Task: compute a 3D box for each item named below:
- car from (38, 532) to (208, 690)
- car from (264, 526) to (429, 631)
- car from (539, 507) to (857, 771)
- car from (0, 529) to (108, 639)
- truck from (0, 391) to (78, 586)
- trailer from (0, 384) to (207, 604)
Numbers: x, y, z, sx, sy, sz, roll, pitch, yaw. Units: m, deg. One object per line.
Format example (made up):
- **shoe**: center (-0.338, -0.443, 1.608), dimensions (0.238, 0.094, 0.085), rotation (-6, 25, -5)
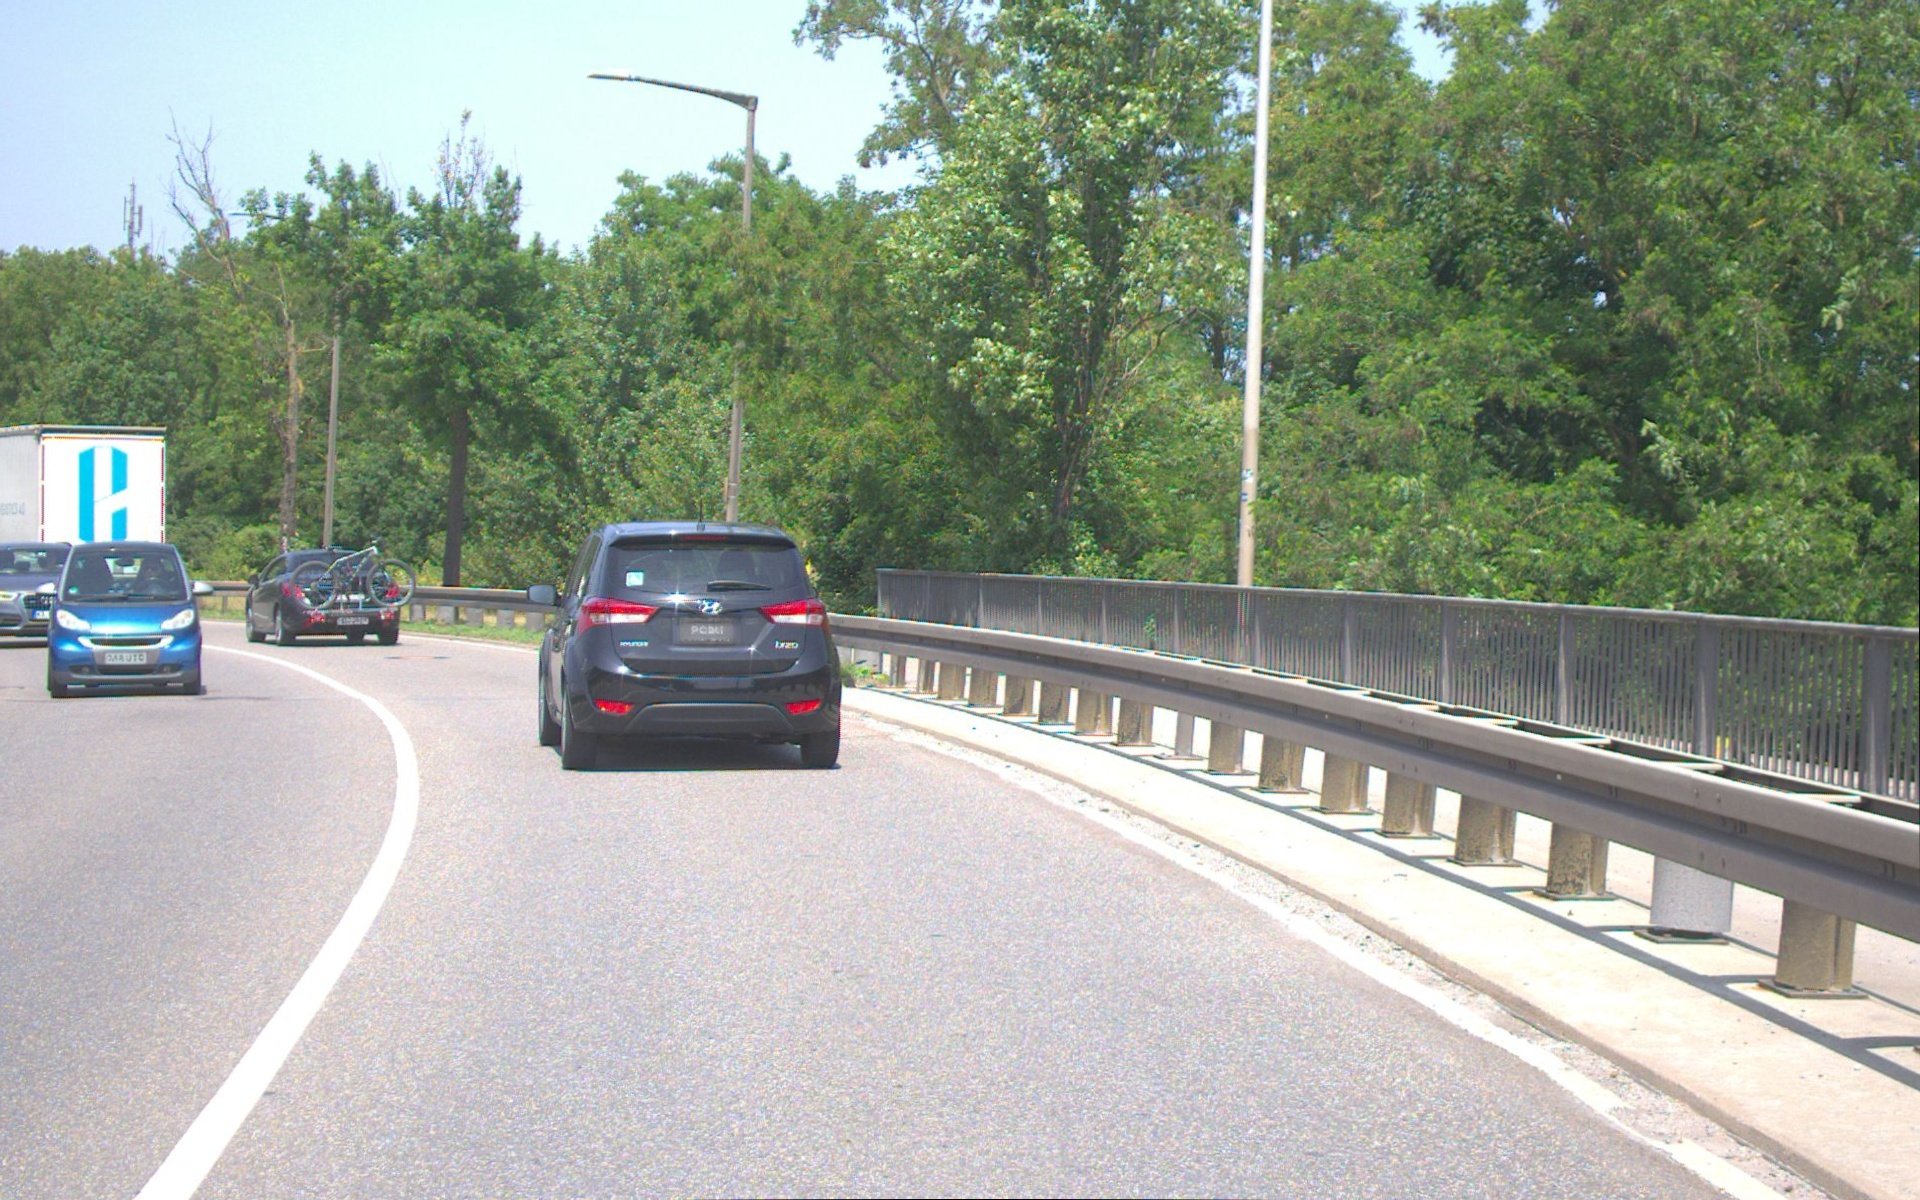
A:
- **car**: center (-8.488, 0.076, 34.747), dimensions (1.596, 1.481, 2.749), rotation (0, 2, -15)
- **car**: center (-9.089, -0.343, 50.765), dimensions (2.011, 1.424, 3.778), rotation (0, 2, -16)
- **car**: center (-1.838, 0.189, 22.976), dimensions (1.921, 1.568, 3.893), rotation (0, 2, -7)
- **car**: center (-13.944, -0.278, 52.388), dimensions (1.822, 1.531, 4.196), rotation (0, 2, -14)
- **truck**: center (-23.394, -2.646, 80.962), dimensions (3.572, 4.425, 6.516), rotation (-1, 2, -29)
- **trailer**: center (-19.607, -2.325, 74.230), dimensions (3.569, 4.369, 11.443), rotation (-1, 2, -28)
